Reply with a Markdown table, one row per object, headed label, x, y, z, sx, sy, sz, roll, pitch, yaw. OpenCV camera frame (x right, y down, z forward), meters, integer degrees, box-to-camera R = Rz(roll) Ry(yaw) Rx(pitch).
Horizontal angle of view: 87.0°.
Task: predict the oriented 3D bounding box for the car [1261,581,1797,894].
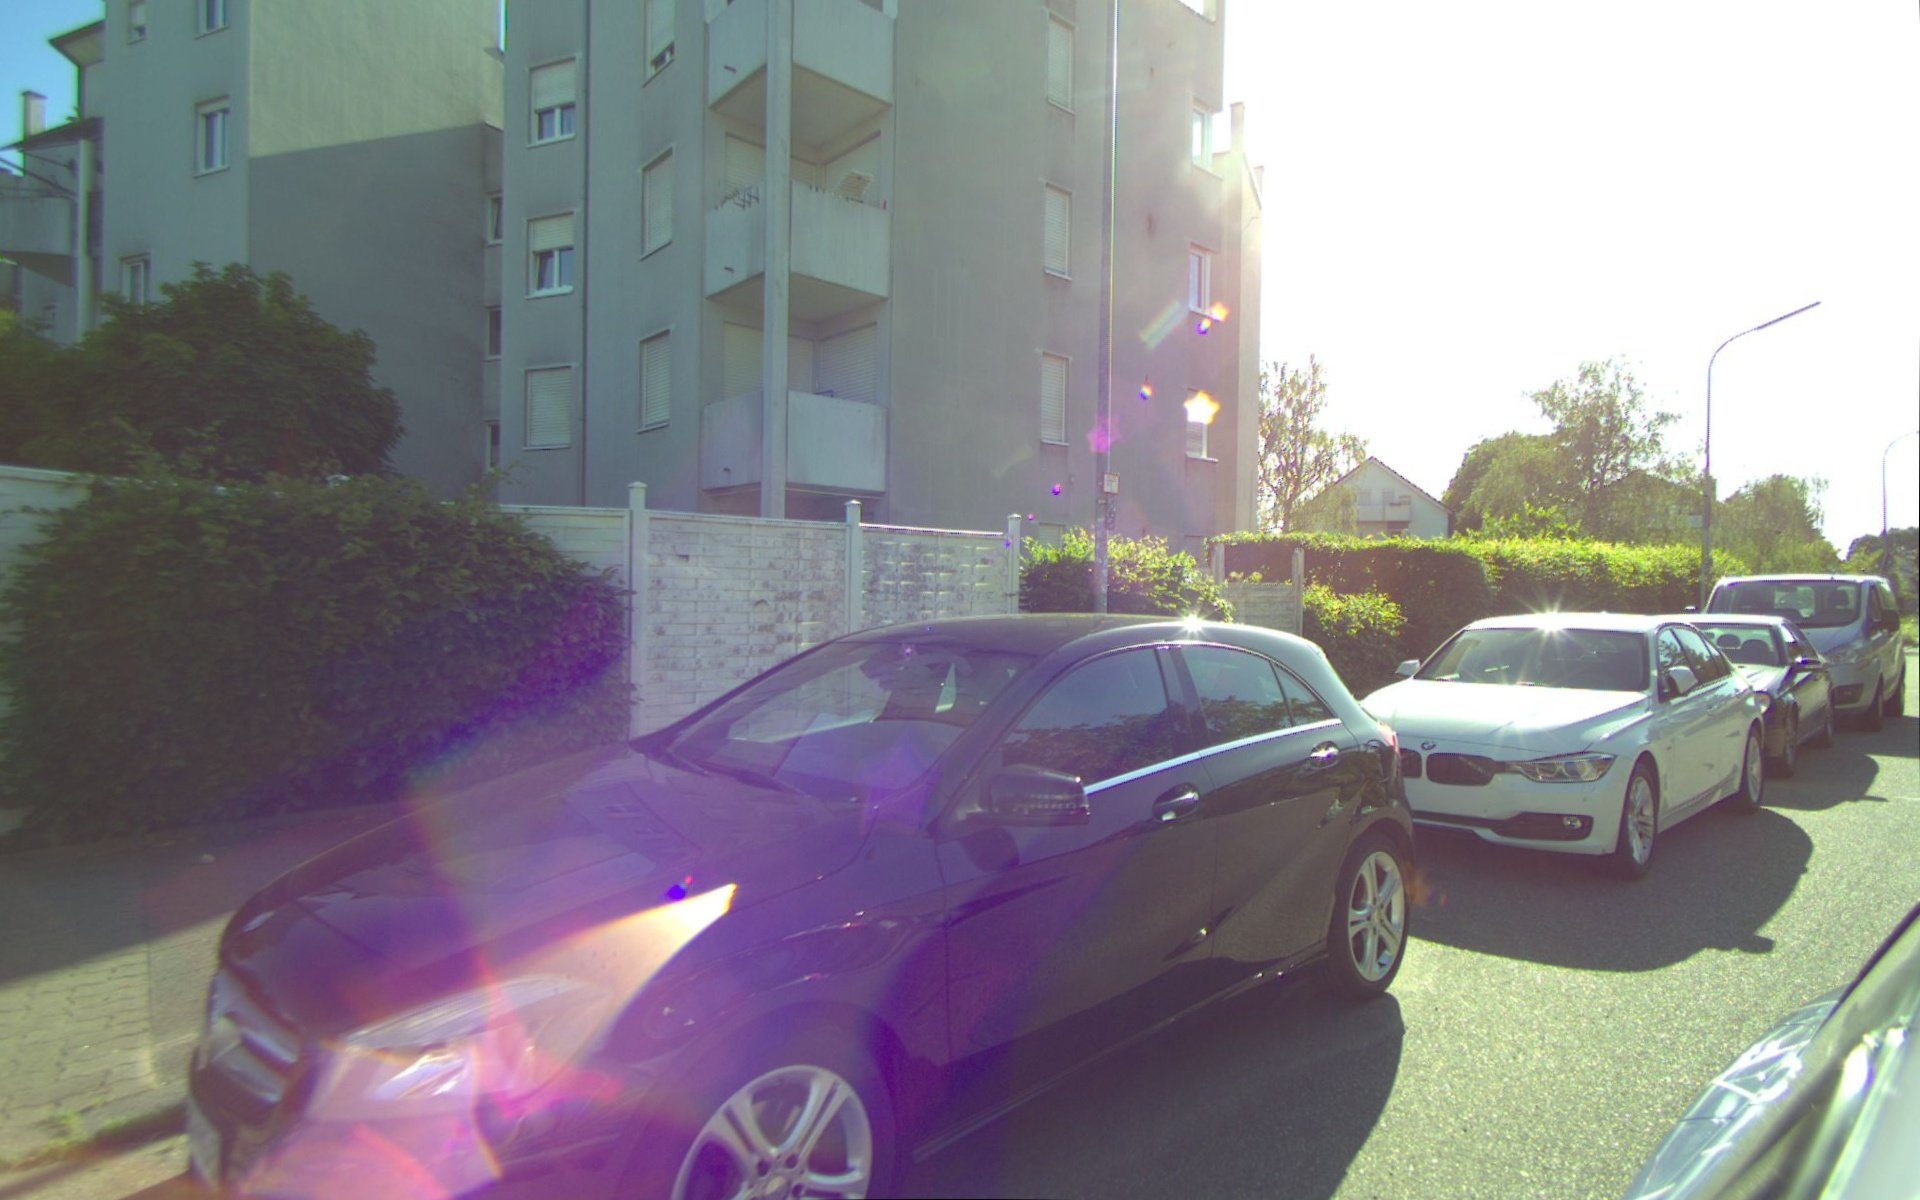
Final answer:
| label | x | y | z | sx | sy | sz | roll | pitch | yaw |
| --- | --- | --- | --- | --- | --- | --- | --- | --- | --- |
| car | 4.155 | 0.651 | 7.077 | 4.298 | 1.507 | 1.913 | 0 | 1 | -41 |

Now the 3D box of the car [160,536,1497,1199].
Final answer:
| label | x | y | z | sx | sy | sz | roll | pitch | yaw |
| --- | --- | --- | --- | --- | --- | --- | --- | --- | --- |
| car | -0.020 | 0.632 | 3.534 | 4.298 | 1.507 | 1.913 | 0 | 1 | -41 |

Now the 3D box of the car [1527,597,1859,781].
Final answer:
| label | x | y | z | sx | sy | sz | roll | pitch | yaw |
| --- | --- | --- | --- | --- | --- | --- | --- | --- | --- |
| car | 7.870 | 0.717 | 10.648 | 4.842 | 1.435 | 1.995 | 0 | 2 | -44 |

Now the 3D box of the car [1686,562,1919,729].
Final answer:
| label | x | y | z | sx | sy | sz | roll | pitch | yaw |
| --- | --- | --- | --- | --- | --- | --- | --- | --- | --- |
| car | 11.969 | 0.495 | 14.128 | 4.869 | 1.936 | 1.996 | 0 | 1 | -42 |
